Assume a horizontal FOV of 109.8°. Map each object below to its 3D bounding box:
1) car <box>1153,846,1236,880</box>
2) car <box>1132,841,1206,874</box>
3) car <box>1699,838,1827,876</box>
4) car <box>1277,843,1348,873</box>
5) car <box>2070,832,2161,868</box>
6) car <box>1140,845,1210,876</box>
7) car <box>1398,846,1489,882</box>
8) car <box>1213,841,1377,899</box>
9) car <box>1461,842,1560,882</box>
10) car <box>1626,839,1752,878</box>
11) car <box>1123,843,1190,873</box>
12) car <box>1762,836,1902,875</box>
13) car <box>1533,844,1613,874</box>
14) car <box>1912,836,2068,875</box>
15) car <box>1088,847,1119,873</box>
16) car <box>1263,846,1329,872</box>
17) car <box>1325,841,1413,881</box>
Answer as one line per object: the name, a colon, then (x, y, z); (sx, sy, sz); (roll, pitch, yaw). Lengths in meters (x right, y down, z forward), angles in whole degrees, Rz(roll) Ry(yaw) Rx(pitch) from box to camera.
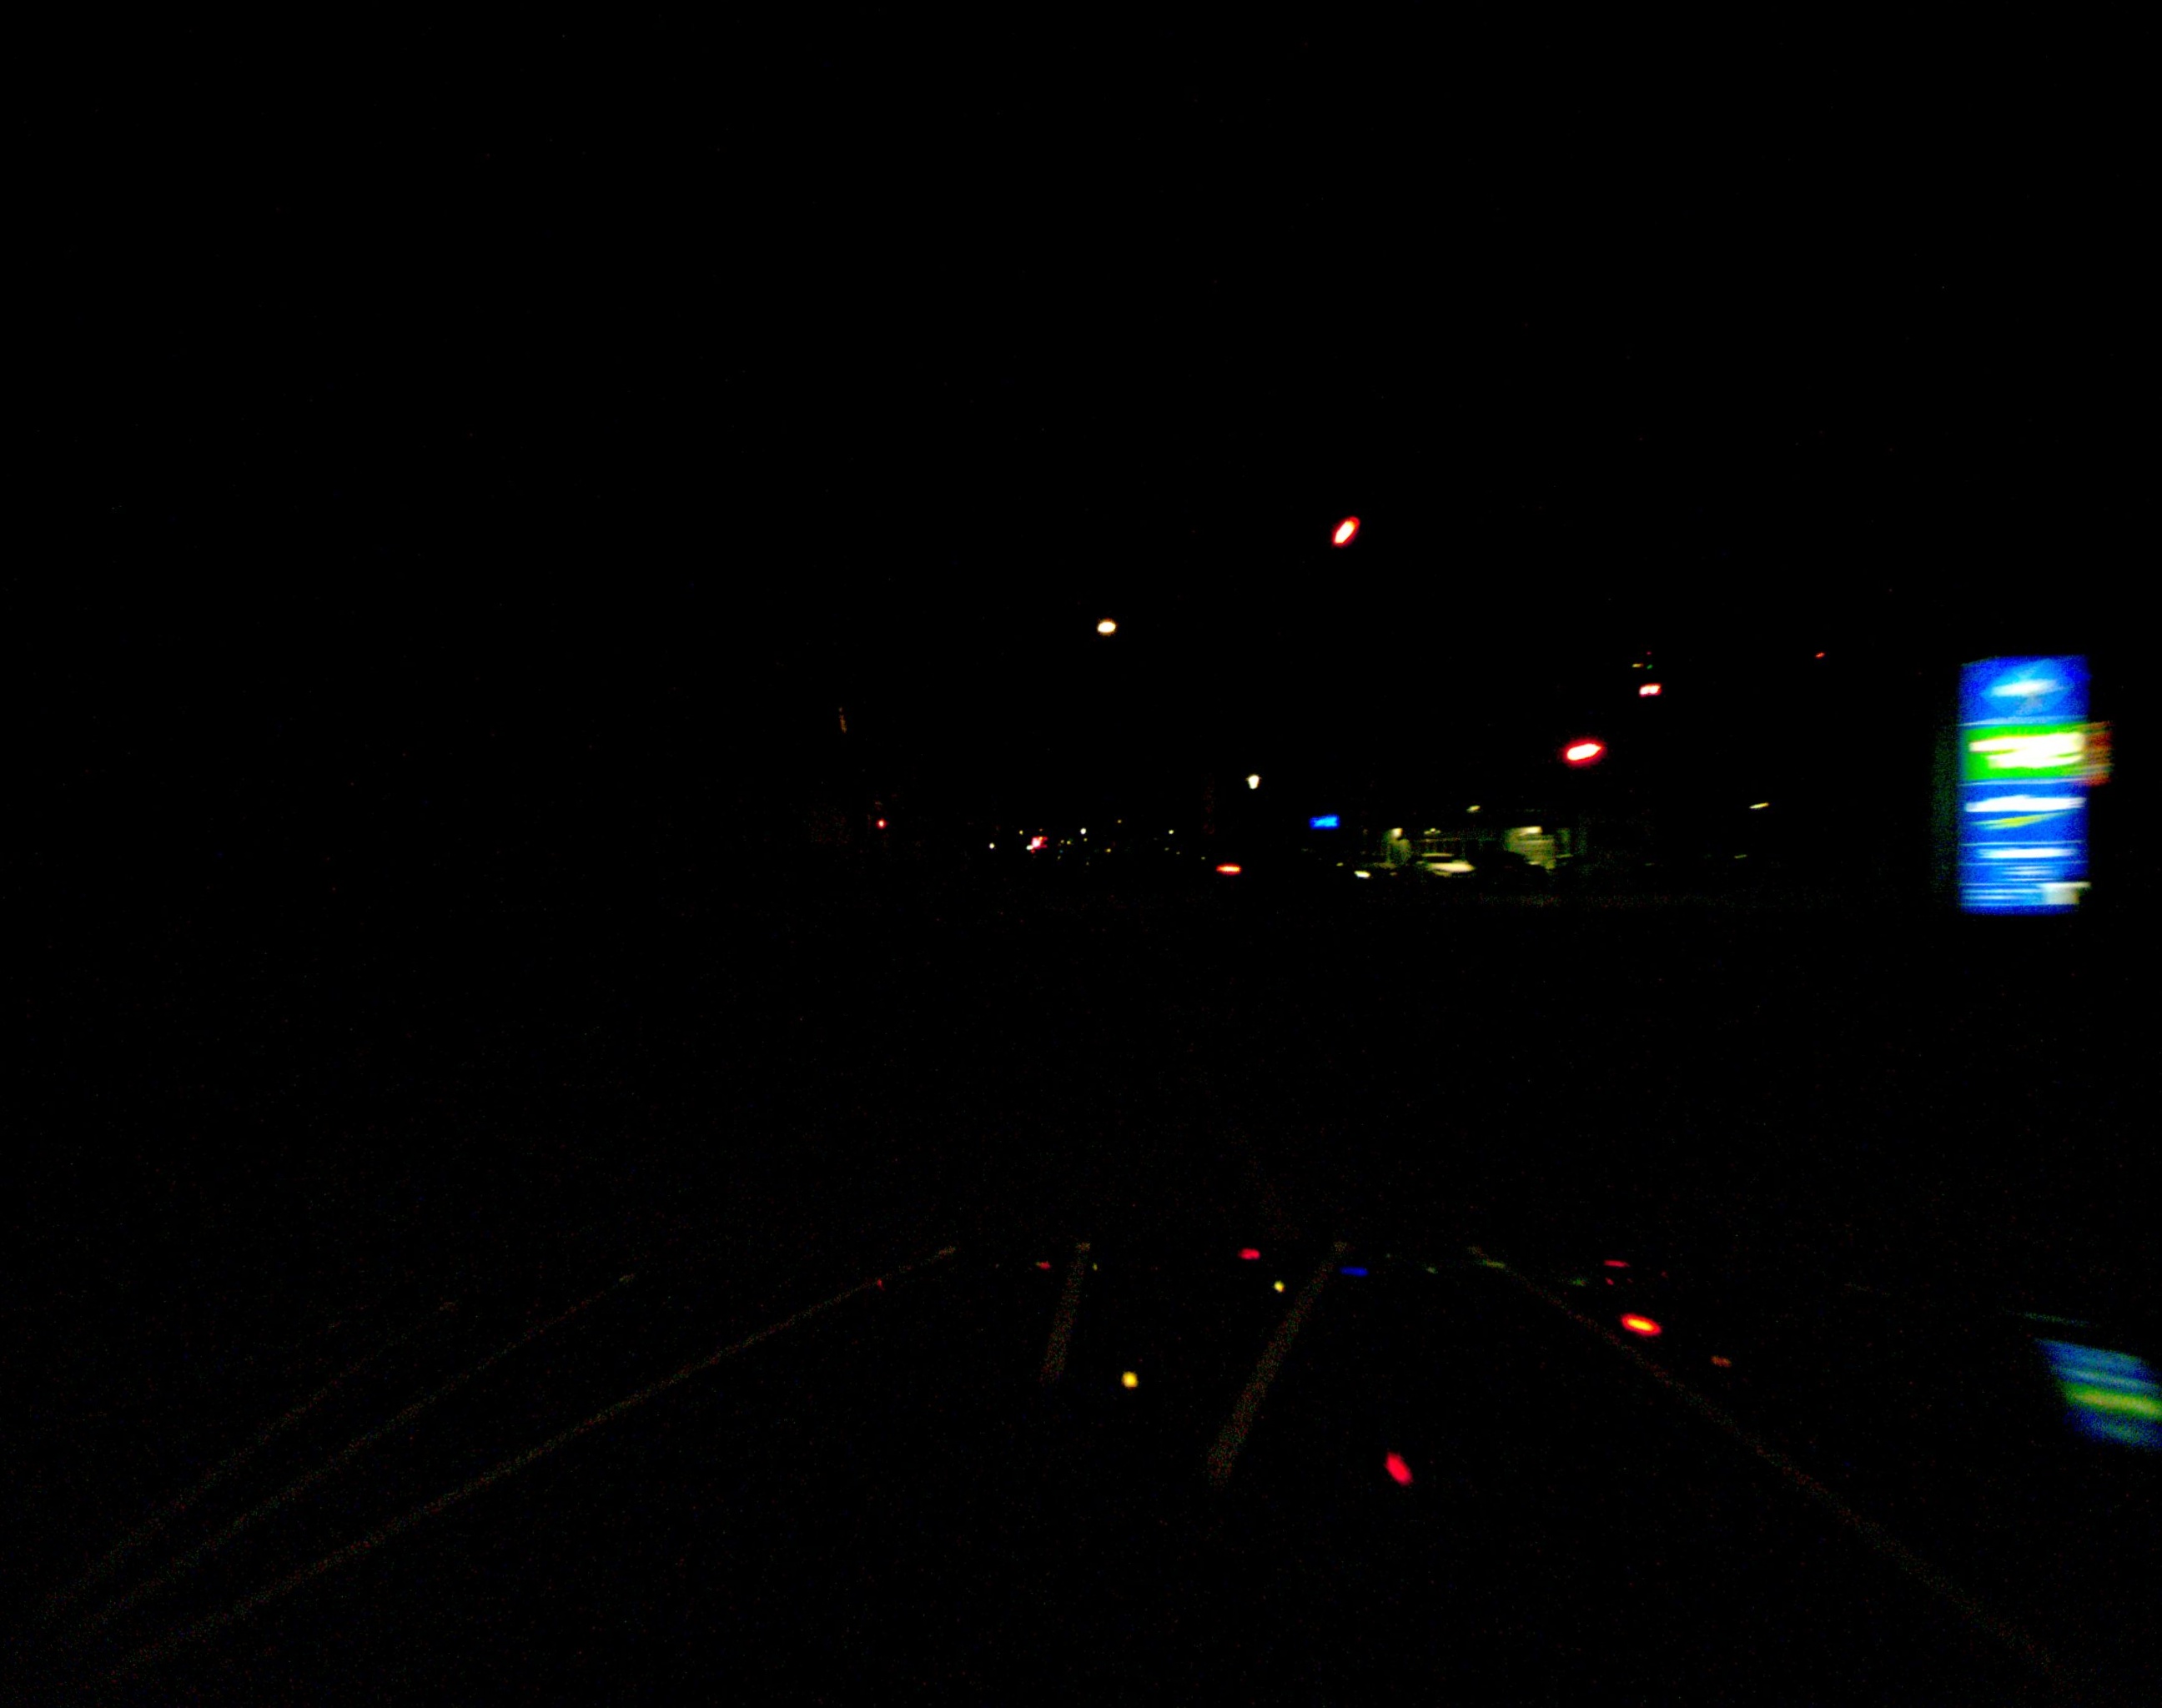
car: (5.447, 0.409, 36.727); (3.763, 1.577, 1.634); (0, 1, -3)
car: (5.064, 0.195, 44.125); (4.055, 1.880, 1.633); (0, 1, -3)
car: (28.525, 0.105, 31.973); (1.732, 1.469, 4.086); (-2, 1, 0)
car: (13.266, 0.214, 43.667); (3.575, 1.690, 1.634); (0, 1, 0)
car: (47.553, -0.197, 34.216); (1.609, 1.492, 3.413); (-2, 1, 1)
car: (5.135, 0.353, 41.667); (3.576, 1.619, 1.620); (0, 1, -3)
car: (15.210, 0.383, 32.138); (1.864, 1.452, 4.069); (0, 1, 0)
car: (6.148, 0.452, 22.167); (4.312, 1.550, 1.686); (-1, 1, 0)
car: (18.213, 0.291, 32.443); (1.864, 1.544, 4.069); (-2, 1, 0)
car: (25.657, 0.167, 32.272); (1.864, 1.469, 4.353); (-2, 1, 0)
car: (4.573, 0.253, 46.336); (3.848, 1.781, 1.634); (0, 1, -3)
car: (31.601, 0.044, 32.171); (1.864, 1.469, 4.086); (-2, 1, 0)
car: (26.819, 0.235, 41.386); (4.280, 1.469, 1.730); (-2, 1, -27)
car: (37.723, 0.045, 31.700); (1.765, 1.469, 3.957); (-2, 1, 0)
car: (1.469, 0.356, 50.870); (1.936, 1.646, 3.833); (-1, 1, 0)
car: (13.289, 0.284, 47.063); (3.576, 1.577, 1.634); (0, 1, -1)
car: (12.147, 0.260, 32.336); (1.999, 1.549, 4.386); (-2, 1, -1)
